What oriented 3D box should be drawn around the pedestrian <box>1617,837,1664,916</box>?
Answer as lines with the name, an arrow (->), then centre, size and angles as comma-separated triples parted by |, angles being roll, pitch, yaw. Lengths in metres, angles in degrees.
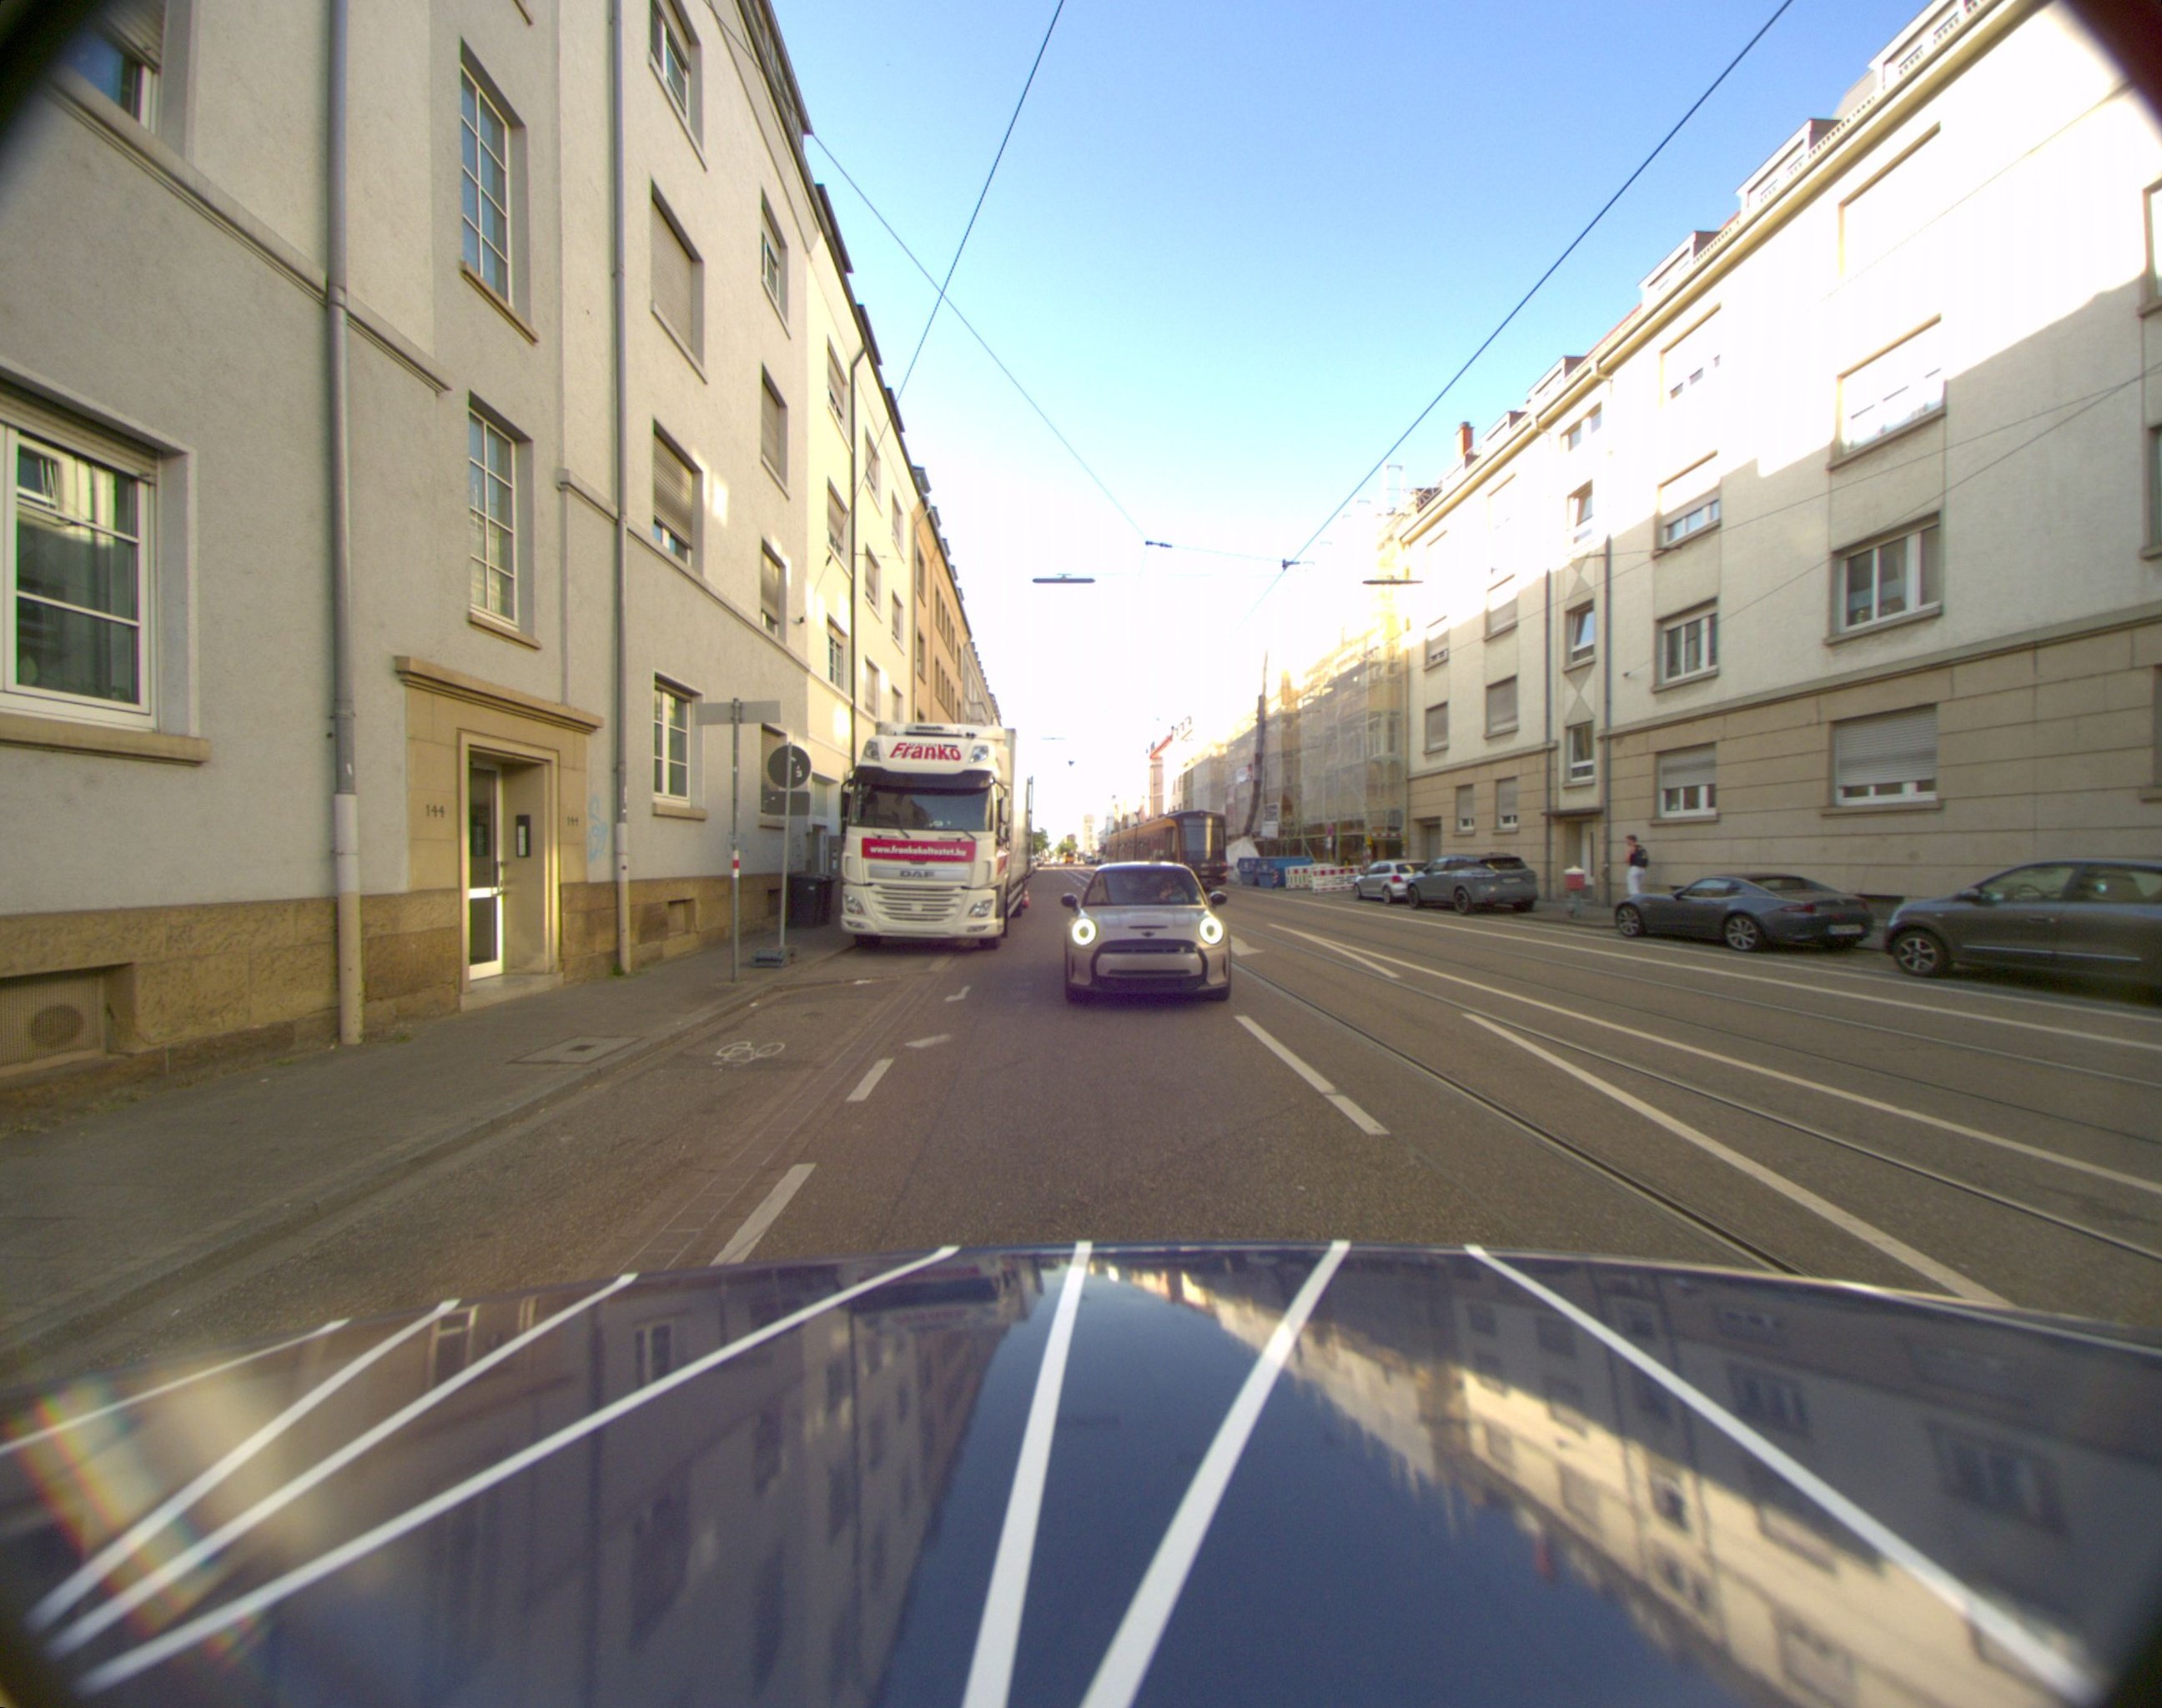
pedestrian -> 13.587, 0.530, 18.461 | 0.519, 1.861, 0.762 | -2, 1, -2

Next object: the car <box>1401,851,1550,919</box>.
car -> 10.852, 0.779, 21.290 | 1.752, 1.600, 4.157 | -3, 1, -4

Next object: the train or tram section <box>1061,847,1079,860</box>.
train or tram section -> -3.311, -0.244, 227.667 | 3.881, 3.616, 14.401 | -2, 1, -7

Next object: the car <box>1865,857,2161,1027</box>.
car -> 11.359, 0.877, 8.358 | 1.644, 1.549, 3.594 | -3, 1, -2

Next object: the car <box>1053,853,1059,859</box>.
car -> -8.155, 0.511, 248.079 | 1.999, 1.871, 4.269 | -2, 1, -4

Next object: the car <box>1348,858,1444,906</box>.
car -> 10.623, 0.897, 25.887 | 1.565, 1.372, 3.506 | -3, 1, -4

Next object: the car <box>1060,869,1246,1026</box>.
car -> 0.660, 0.909, 8.995 | 1.727, 1.416, 3.817 | 0, -1, 0

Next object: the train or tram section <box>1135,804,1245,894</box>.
train or tram section -> 4.798, -0.256, 36.725 | 2.867, 3.542, 13.038 | 0, 1, -3

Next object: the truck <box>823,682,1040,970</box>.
truck -> -2.499, -0.507, 17.017 | 2.700, 4.214, 11.773 | 0, 1, -1

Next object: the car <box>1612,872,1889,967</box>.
car -> 11.120, 1.003, 12.973 | 1.476, 1.212, 3.522 | -3, 1, -4

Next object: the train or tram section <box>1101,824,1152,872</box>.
train or tram section -> 3.560, -0.508, 63.218 | 2.867, 3.542, 13.330 | 0, 1, -3

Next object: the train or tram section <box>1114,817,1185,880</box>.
train or tram section -> 4.173, -0.381, 49.913 | 2.867, 3.542, 13.330 | 0, 1, -3
